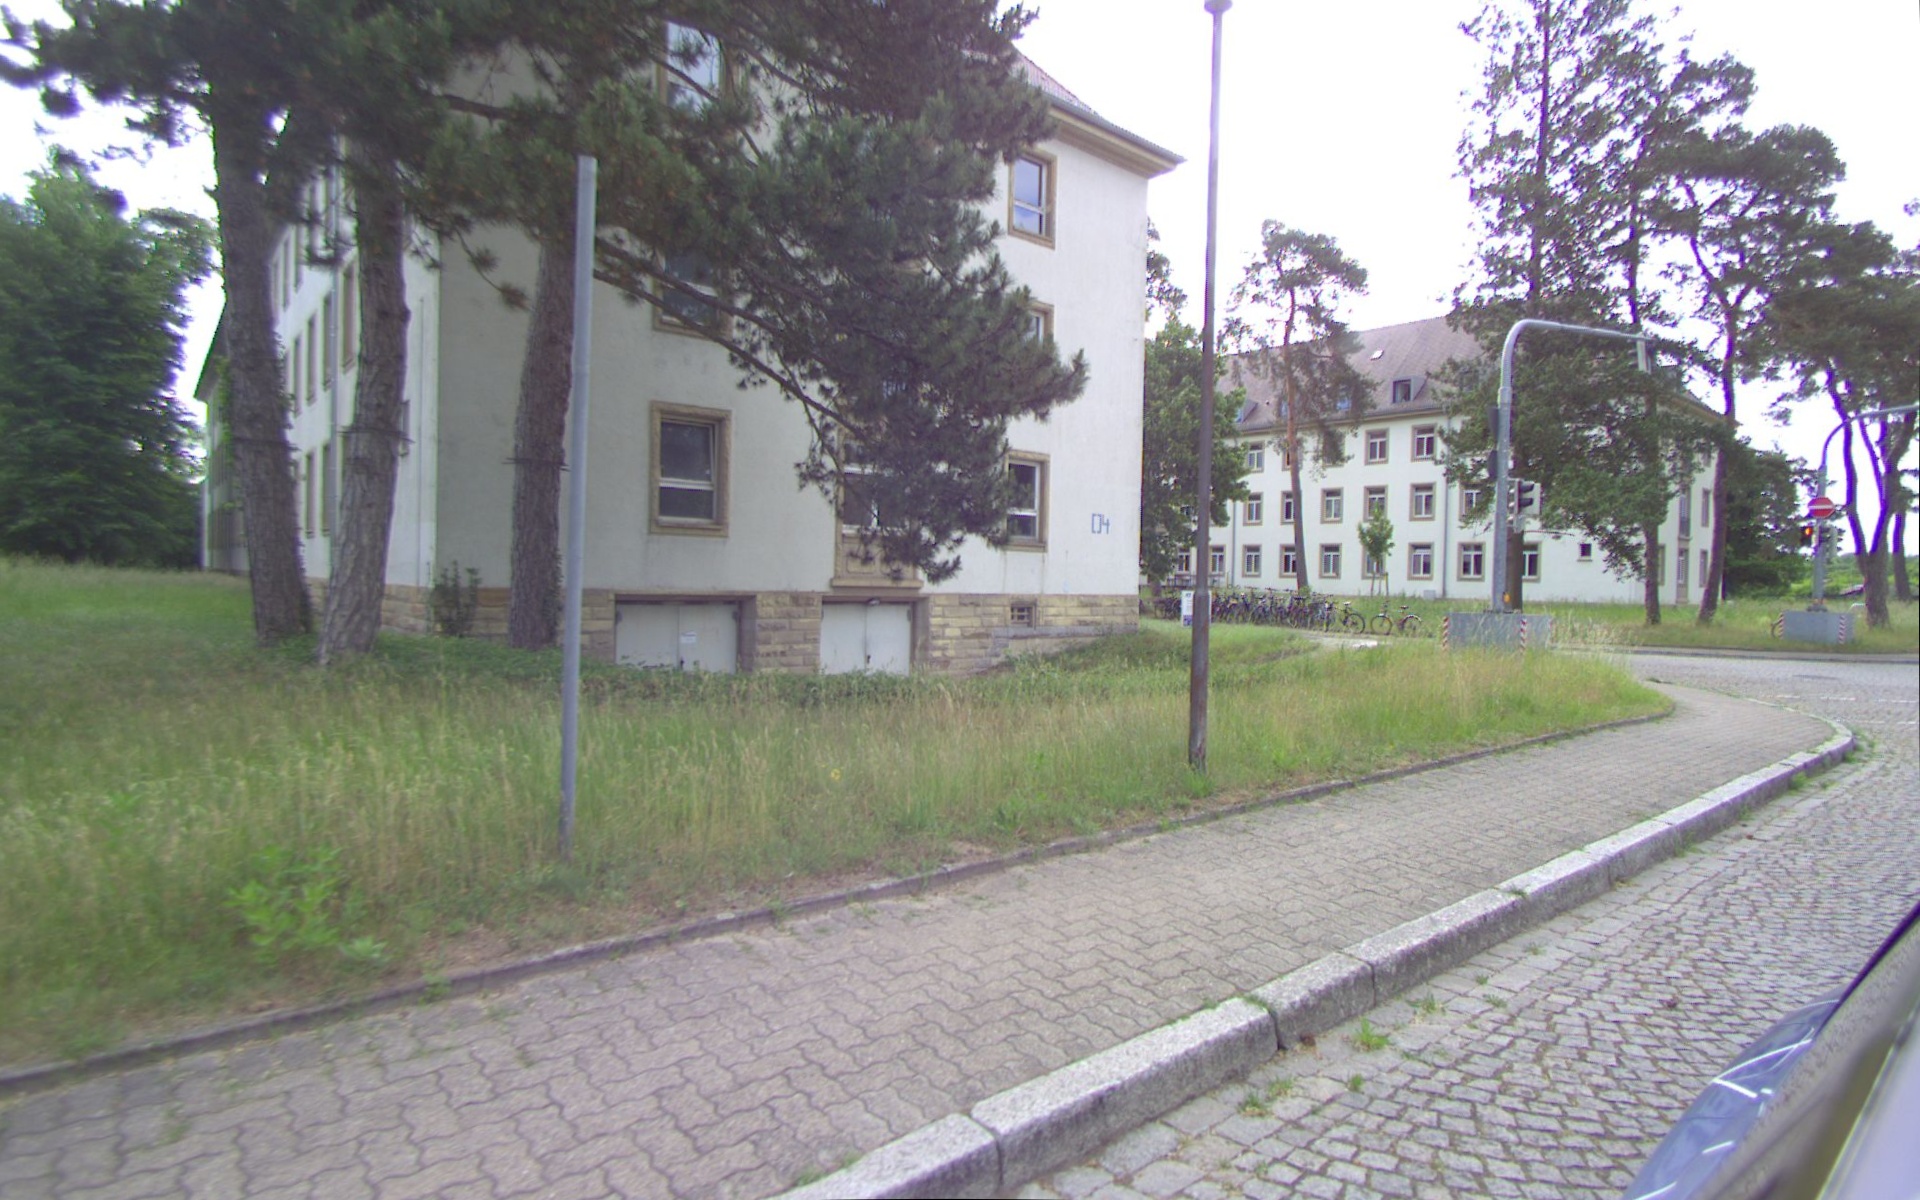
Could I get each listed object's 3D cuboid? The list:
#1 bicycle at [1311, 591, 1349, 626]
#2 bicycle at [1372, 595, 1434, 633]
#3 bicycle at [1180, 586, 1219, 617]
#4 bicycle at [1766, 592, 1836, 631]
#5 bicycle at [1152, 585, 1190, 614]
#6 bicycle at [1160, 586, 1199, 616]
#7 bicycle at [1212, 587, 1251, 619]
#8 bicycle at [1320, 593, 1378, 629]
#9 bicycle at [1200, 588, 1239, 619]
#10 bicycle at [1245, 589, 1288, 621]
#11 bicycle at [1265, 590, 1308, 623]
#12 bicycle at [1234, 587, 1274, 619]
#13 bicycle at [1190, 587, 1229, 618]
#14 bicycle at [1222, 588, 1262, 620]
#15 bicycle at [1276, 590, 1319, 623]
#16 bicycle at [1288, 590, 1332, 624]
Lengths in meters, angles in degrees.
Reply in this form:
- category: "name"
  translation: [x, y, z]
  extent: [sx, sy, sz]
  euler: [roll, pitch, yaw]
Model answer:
- category: "bicycle"
  translation: [12.647, 0.285, 34.588]
  extent: [1.628, 1.142, 0.476]
  euler: [0, 1, -41]
- category: "bicycle"
  translation: [13.605, 0.414, 31.111]
  extent: [0.604, 1.099, 1.653]
  euler: [0, 1, -43]
- category: "bicycle"
  translation: [9.188, 0.049, 38.775]
  extent: [1.699, 1.142, 0.448]
  euler: [0, 1, -37]
- category: "bicycle"
  translation: [24.778, 0.346, 29.818]
  extent: [1.623, 1.099, 0.616]
  euler: [1, 1, -8]
- category: "bicycle"
  translation: [8.306, -0.015, 39.865]
  extent: [1.699, 1.142, 0.448]
  euler: [0, 1, -37]
- category: "bicycle"
  translation: [8.580, 0.025, 39.524]
  extent: [1.699, 1.142, 0.448]
  euler: [0, 1, -37]
- category: "bicycle"
  translation: [10.085, 0.113, 37.561]
  extent: [1.699, 1.142, 0.448]
  euler: [0, 1, -37]
- category: "bicycle"
  translation: [12.420, 0.344, 32.332]
  extent: [0.603, 1.099, 1.656]
  euler: [0, 1, -37]
- category: "bicycle"
  translation: [9.747, 0.115, 37.982]
  extent: [1.699, 1.142, 0.448]
  euler: [0, 1, -37]
- category: "bicycle"
  translation: [10.991, 0.177, 36.309]
  extent: [1.697, 1.142, 0.448]
  euler: [0, 1, -32]
- category: "bicycle"
  translation: [11.529, 0.228, 35.727]
  extent: [1.697, 1.142, 0.448]
  euler: [0, 1, -32]
- category: "bicycle"
  translation: [10.676, 0.119, 36.761]
  extent: [1.699, 1.142, 0.448]
  euler: [0, 1, -37]
- category: "bicycle"
  translation: [9.468, 0.089, 38.383]
  extent: [1.699, 1.142, 0.448]
  euler: [0, 1, -37]
- category: "bicycle"
  translation: [10.368, 0.134, 37.169]
  extent: [1.699, 1.142, 0.448]
  euler: [0, 1, -37]
- category: "bicycle"
  translation: [11.783, 0.228, 35.318]
  extent: [1.668, 1.142, 0.448]
  euler: [0, 1, -32]
- category: "bicycle"
  translation: [12.078, 0.254, 34.921]
  extent: [1.669, 1.142, 0.477]
  euler: [0, 1, -32]
